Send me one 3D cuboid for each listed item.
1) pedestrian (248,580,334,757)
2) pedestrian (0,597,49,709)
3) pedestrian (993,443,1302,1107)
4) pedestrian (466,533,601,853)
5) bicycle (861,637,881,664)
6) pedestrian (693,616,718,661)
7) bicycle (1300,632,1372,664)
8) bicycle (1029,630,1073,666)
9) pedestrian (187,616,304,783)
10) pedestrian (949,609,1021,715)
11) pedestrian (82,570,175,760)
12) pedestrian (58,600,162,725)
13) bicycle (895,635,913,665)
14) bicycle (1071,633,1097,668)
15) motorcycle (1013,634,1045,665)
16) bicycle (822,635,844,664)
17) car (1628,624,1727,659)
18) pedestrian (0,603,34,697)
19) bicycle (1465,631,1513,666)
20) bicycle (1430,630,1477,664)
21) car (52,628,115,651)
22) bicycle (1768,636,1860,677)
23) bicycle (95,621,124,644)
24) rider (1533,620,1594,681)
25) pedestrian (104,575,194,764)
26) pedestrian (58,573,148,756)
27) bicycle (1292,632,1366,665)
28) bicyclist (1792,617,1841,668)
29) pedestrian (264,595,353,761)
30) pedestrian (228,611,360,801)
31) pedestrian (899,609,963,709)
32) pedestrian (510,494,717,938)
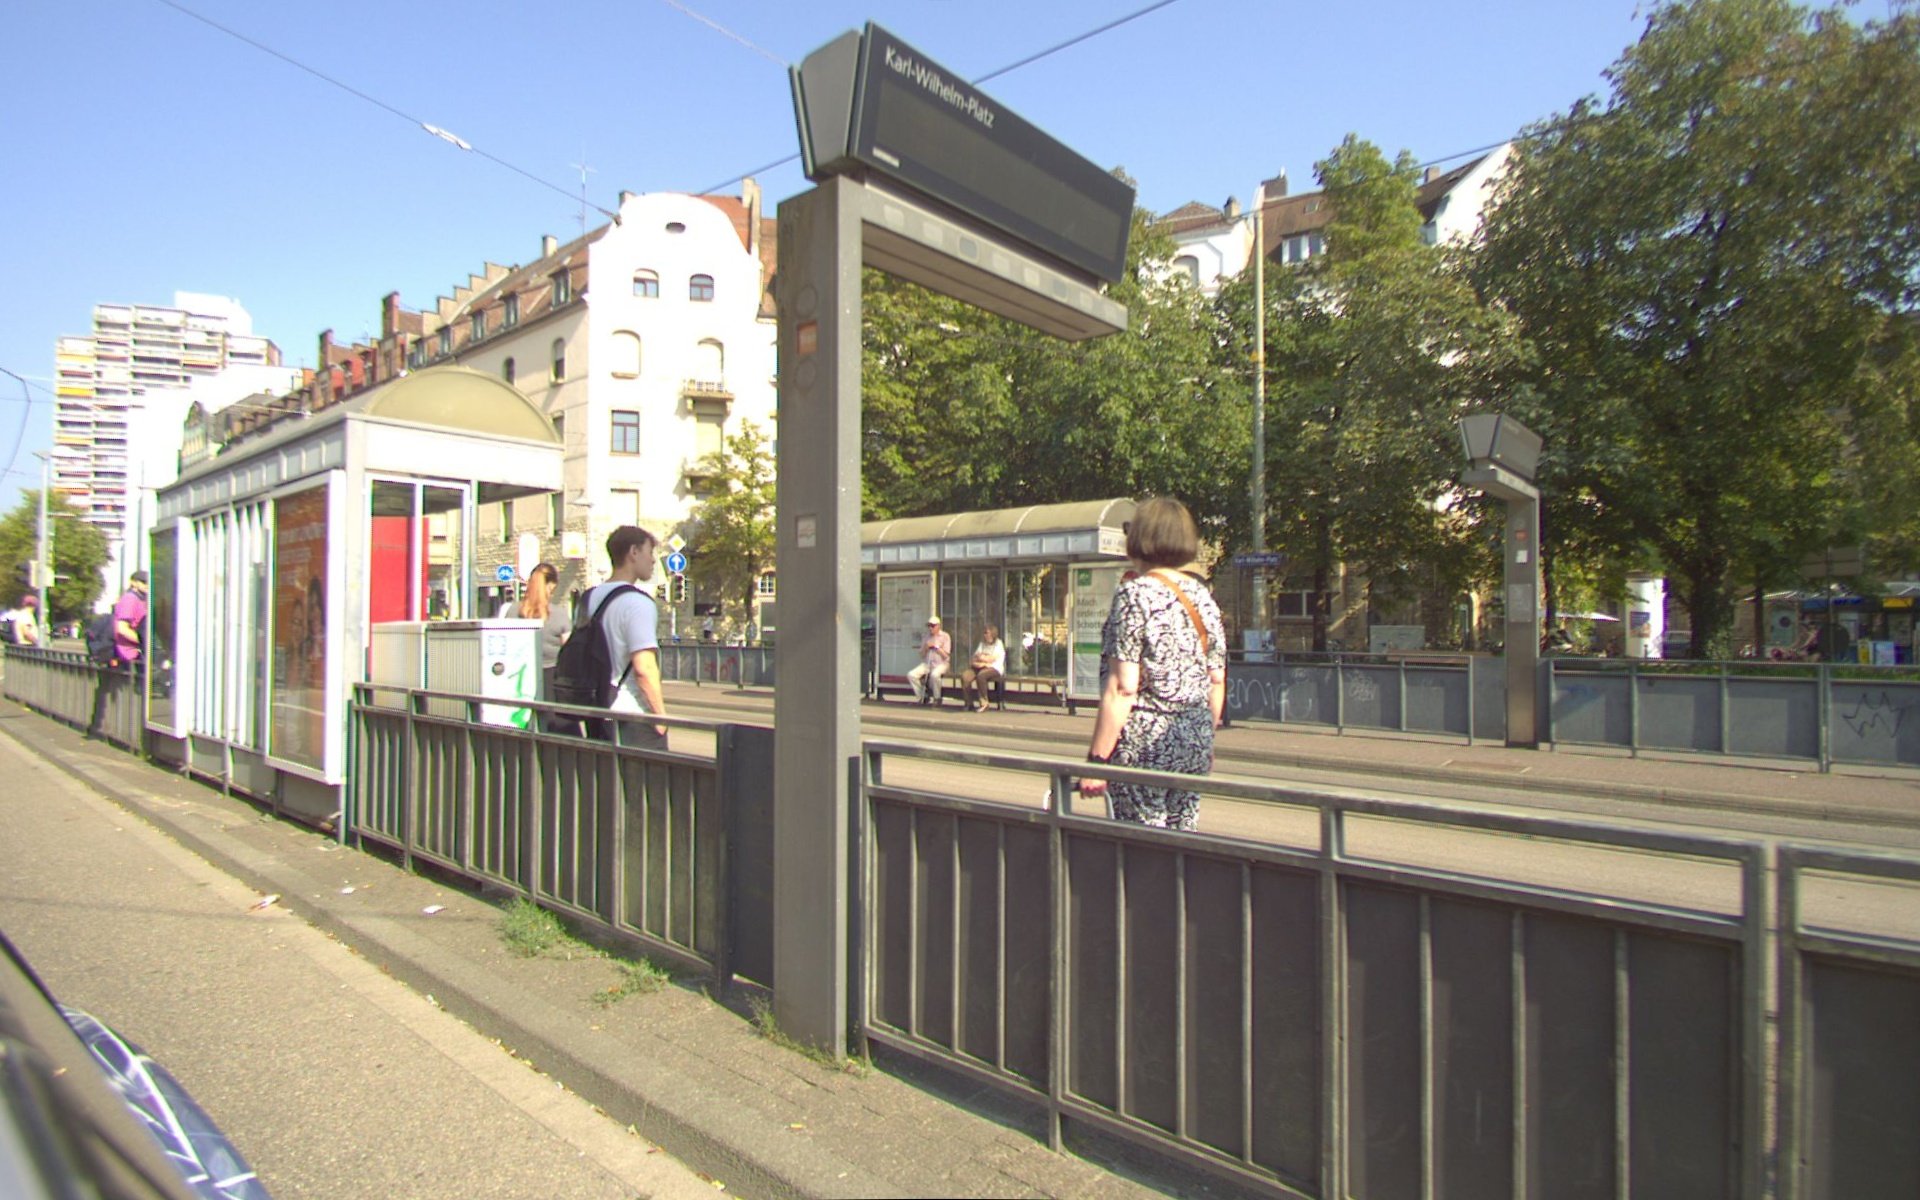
[{"bbox_3d":[-6.845,0.685,10.357,0.607,1.734,0.582,-2,-3,43],"label":"pedestrian"},{"bbox_3d":[-15.539,0.871,16.792,0.676,1.816,0.552,-2,-3,45],"label":"pedestrian"},{"bbox_3d":[0.605,0.473,3.229,0.680,1.774,0.760,-1,-2,40],"label":"pedestrian"},{"bbox_3d":[-2.536,0.524,6.022,0.533,1.774,0.546,-1,-2,40],"label":"pedestrian"},{"bbox_3d":[-3.641,2.067,41.638,0.687,1.087,2.342,0,-2,-1],"label":"bicycle"},{"bbox_3d":[-10.770,1.606,42.846,0.672,1.882,0.726,-1,-2,38],"label":"pedestrian"},{"bbox_3d":[13.547,1.723,36.513,2.331,1.112,0.648,-1,-2,39],"label":"bicycle"},{"bbox_3d":[3.676,1.918,40.743,0.864,1.381,2.279,-1,-2,30],"label":"bicycle"},{"bbox_3d":[-6.120,0.818,8.671,0.622,1.350,0.679,-2,-2,41],"label":"pedestrian"},{"bbox_3d":[0.364,0.872,14.603,0.718,1.467,0.784,-2,-2,42],"label":"pedestrian"},{"bbox_3d":[-8.529,0.646,10.379,0.634,1.862,0.629,-2,-3,43],"label":"pedestrian"},{"bbox_3d":[-11.827,0.848,14.093,0.863,1.667,0.807,-1,-2,28],"label":"pedestrian"},{"bbox_3d":[-2.249,2.007,40.860,0.687,1.087,2.342,0,-1,-1],"label":"bicycle"},{"bbox_3d":[4.962,1.992,40.374,0.859,1.381,2.294,0,-2,12],"label":"bicycle"},{"bbox_3d":[2.816,1.981,41.087,0.674,1.186,1.867,-1,-1,26],"label":"motorcycle"},{"bbox_3d":[-5.157,2.010,41.225,0.687,1.087,2.342,0,-1,-1],"label":"bicycle"},{"bbox_3d":[39.464,2.258,55.758,1.965,1.863,4.013,1,-2,-27],"label":"car"},{"bbox_3d":[-18.574,0.980,19.723,0.738,1.783,0.720,-5,-3,44],"label":"pedestrian"},{"bbox_3d":[17.359,1.570,33.195,2.060,1.112,0.657,1,-2,-41],"label":"bicycle"},{"bbox_3d":[16.613,1.561,34.079,2.060,1.112,0.657,1,-2,-41],"label":"bicycle"},{"bbox_3d":[-80.870,3.640,93.444,1.981,2.029,3.980,0,-2,15],"label":"car"},{"bbox_3d":[23.339,1.541,27.673,2.041,1.112,0.656,0,-2,-5],"label":"bicycle"},{"bbox_3d":[-70.227,2.688,83.572,3.548,1.872,1.003,-1,0,36],"label":"bicycle"},{"bbox_3d":[15.527,1.283,26.039,0.983,1.523,1.115,0,-1,-45],"label":"rider"},{"bbox_3d":[-7.975,0.668,9.957,0.607,1.777,0.582,-2,-3,43],"label":"pedestrian"},{"bbox_3d":[-9.094,0.664,10.746,0.634,1.862,0.629,-2,-3,43],"label":"pedestrian"},{"bbox_3d":[13.086,1.714,35.916,2.331,1.112,0.764,-1,-2,39],"label":"bicycle"},{"bbox_3d":[23.424,1.167,27.691,0.747,1.370,0.656,0,-2,-5],"label":"bicyclist"},{"bbox_3d":[-6.389,0.746,9.928,0.607,1.556,0.582,-2,-3,43],"label":"pedestrian"},{"bbox_3d":[-5.189,0.786,7.892,0.622,1.389,0.700,-2,-2,41],"label":"pedestrian"},{"bbox_3d":[-0.434,0.884,15.331,0.718,1.467,0.669,-2,-2,42],"label":"pedestrian"},{"bbox_3d":[-1.580,0.482,4.626,0.729,1.820,0.597,-1,-2,40],"label":"pedestrian"}]
